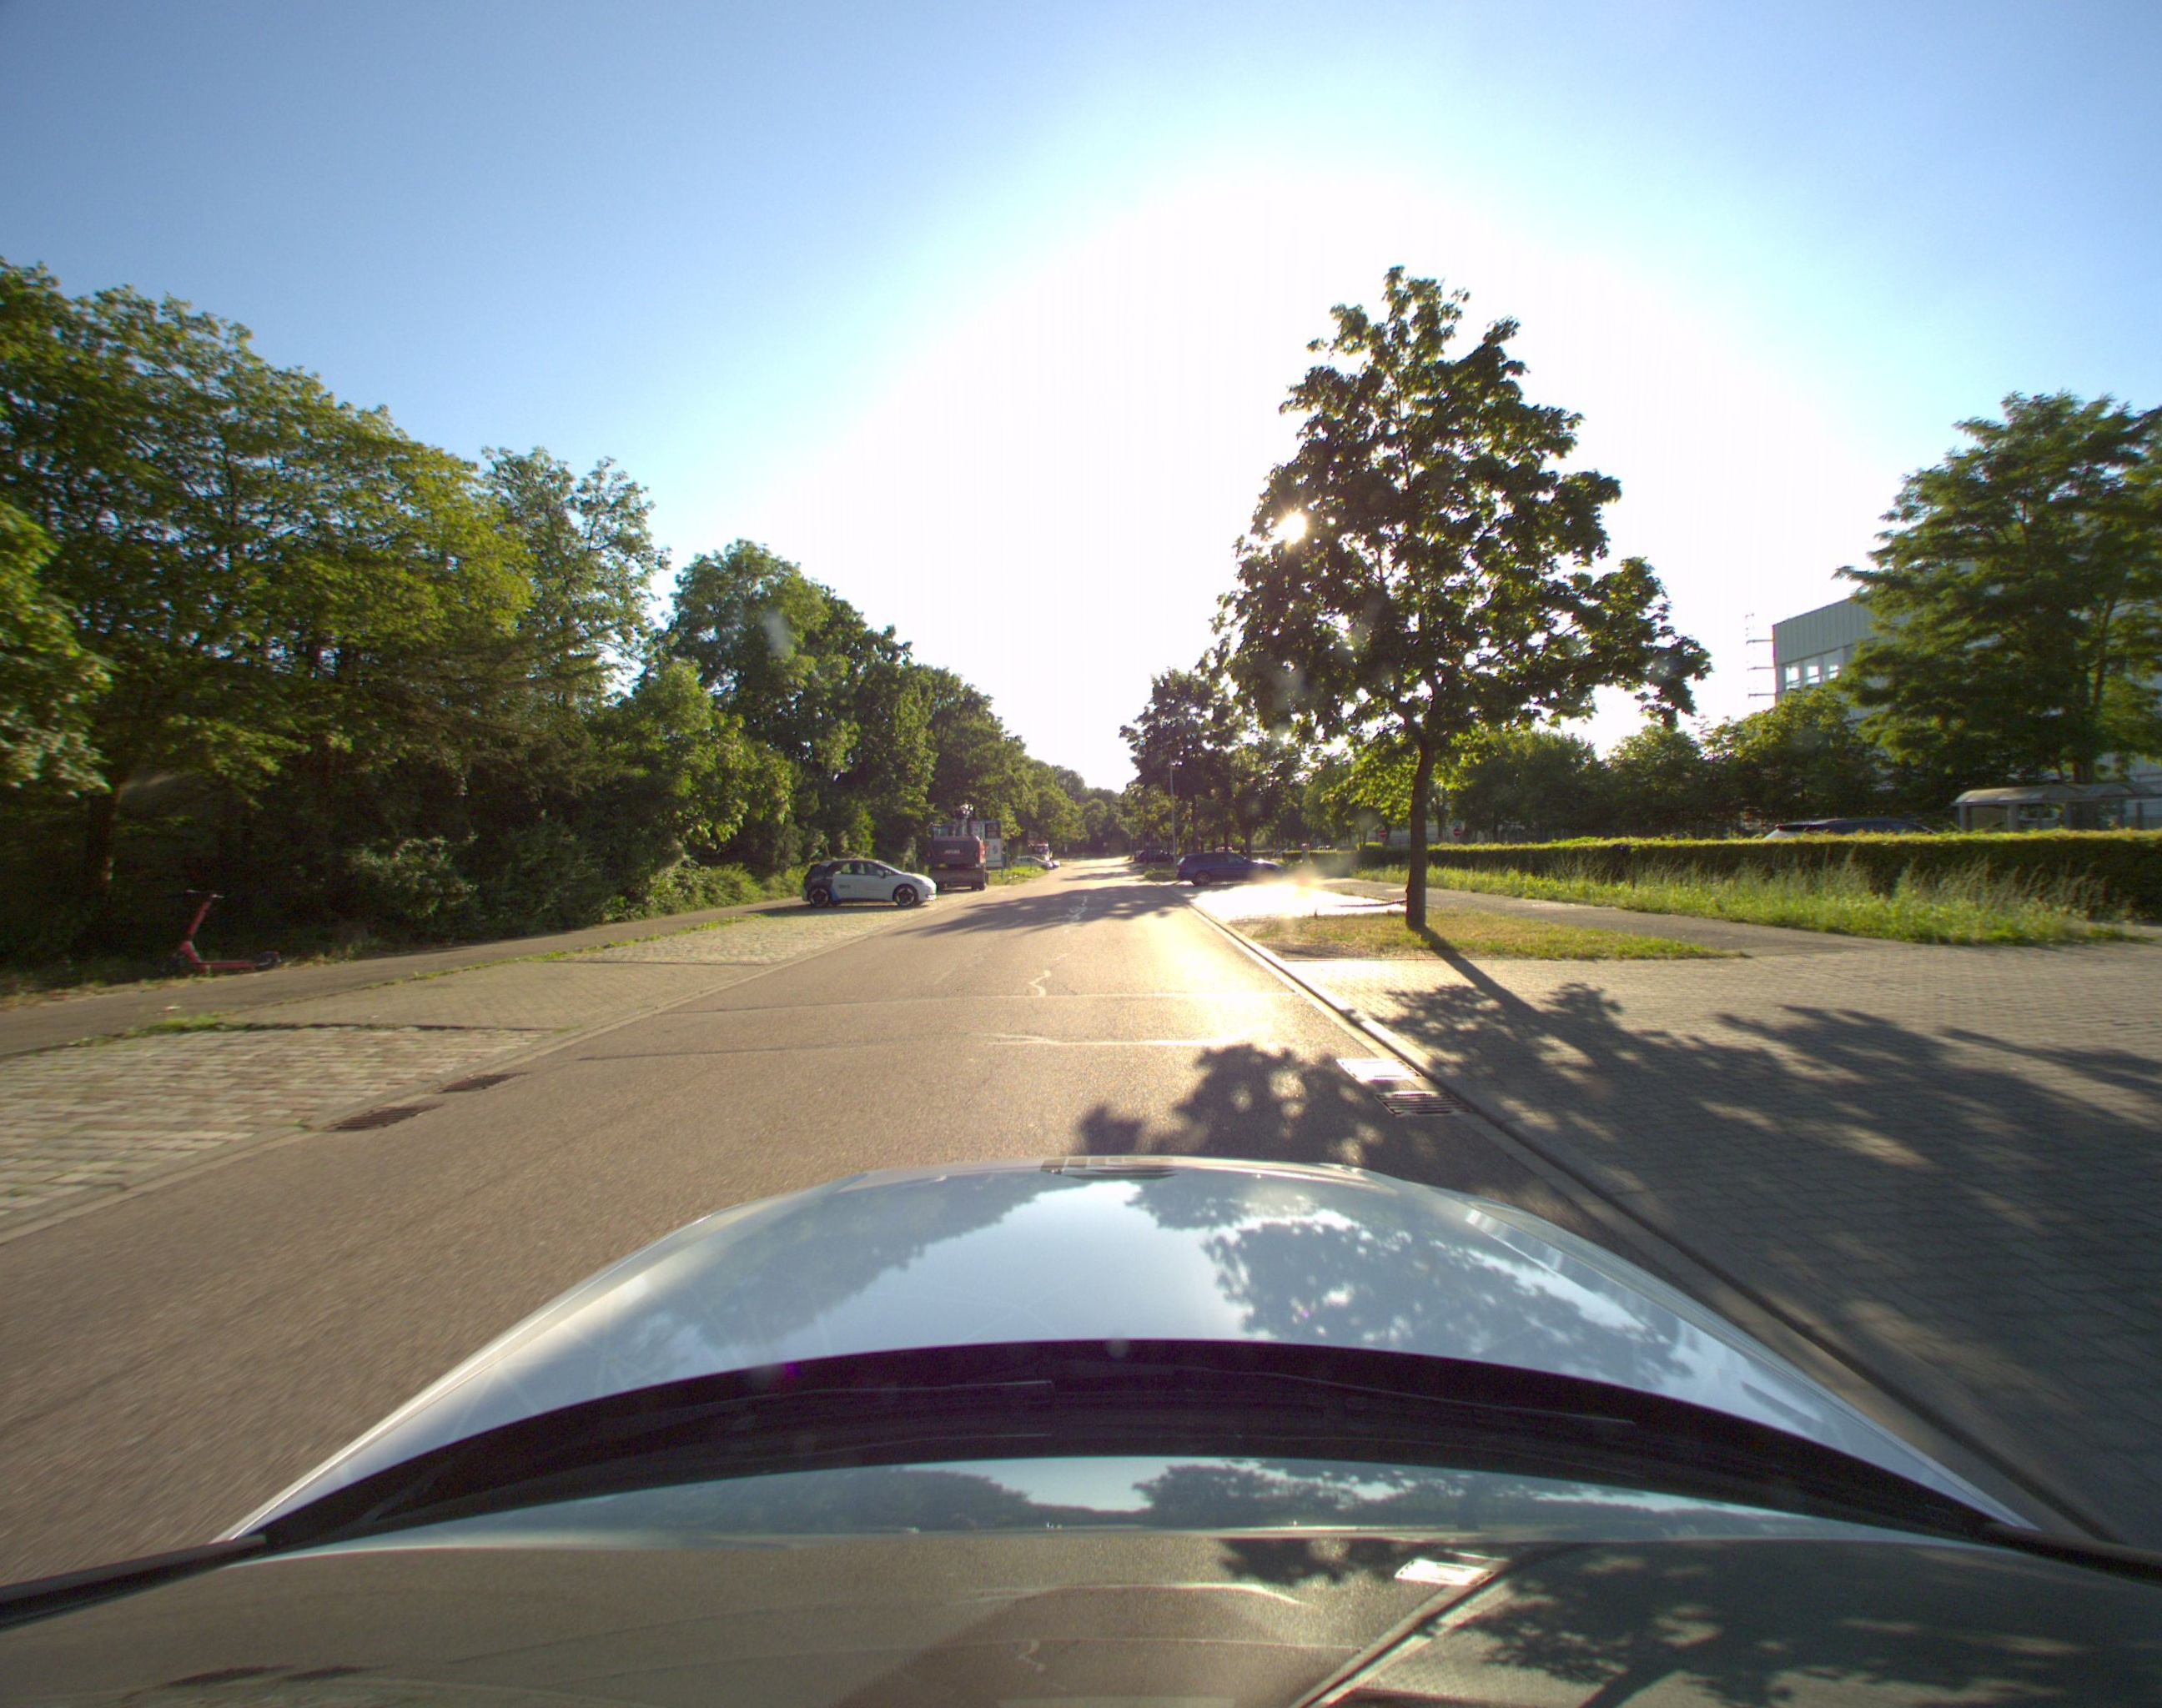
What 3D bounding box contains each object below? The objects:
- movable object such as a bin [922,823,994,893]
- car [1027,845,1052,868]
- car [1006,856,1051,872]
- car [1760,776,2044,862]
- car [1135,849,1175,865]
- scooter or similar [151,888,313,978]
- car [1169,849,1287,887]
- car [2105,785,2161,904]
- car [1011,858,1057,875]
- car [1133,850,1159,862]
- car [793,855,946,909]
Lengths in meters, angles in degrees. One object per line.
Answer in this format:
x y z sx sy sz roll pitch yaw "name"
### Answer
-5.825 0.197 39.267 2.831 3.068 4.922 -2 0 -2 "movable object such as a bin"
-4.592 0.274 88.856 2.512 2.386 4.365 -2 0 -5 "car"
-5.299 0.990 82.047 4.351 1.479 1.997 -2 0 -5 "car"
18.566 -0.761 18.610 4.340 1.705 2.002 -2 0 3 "car"
8.343 0.359 92.289 4.343 1.729 2.000 0 0 1 "car"
-12.335 1.110 11.873 0.570 1.145 1.594 -2 -1 41 "scooter or similar"
6.358 0.590 35.659 4.822 1.479 2.001 -2 0 2 "car"
17.769 -0.132 11.358 4.414 1.706 2.059 0 0 0 "car"
-4.608 1.172 79.452 4.351 1.479 1.997 -2 0 -5 "car"
10.238 0.342 128.594 3.973 1.680 2.000 -2 0 1 "car"
-6.788 0.875 26.489 4.341 1.547 2.001 2 0 2 "car"
